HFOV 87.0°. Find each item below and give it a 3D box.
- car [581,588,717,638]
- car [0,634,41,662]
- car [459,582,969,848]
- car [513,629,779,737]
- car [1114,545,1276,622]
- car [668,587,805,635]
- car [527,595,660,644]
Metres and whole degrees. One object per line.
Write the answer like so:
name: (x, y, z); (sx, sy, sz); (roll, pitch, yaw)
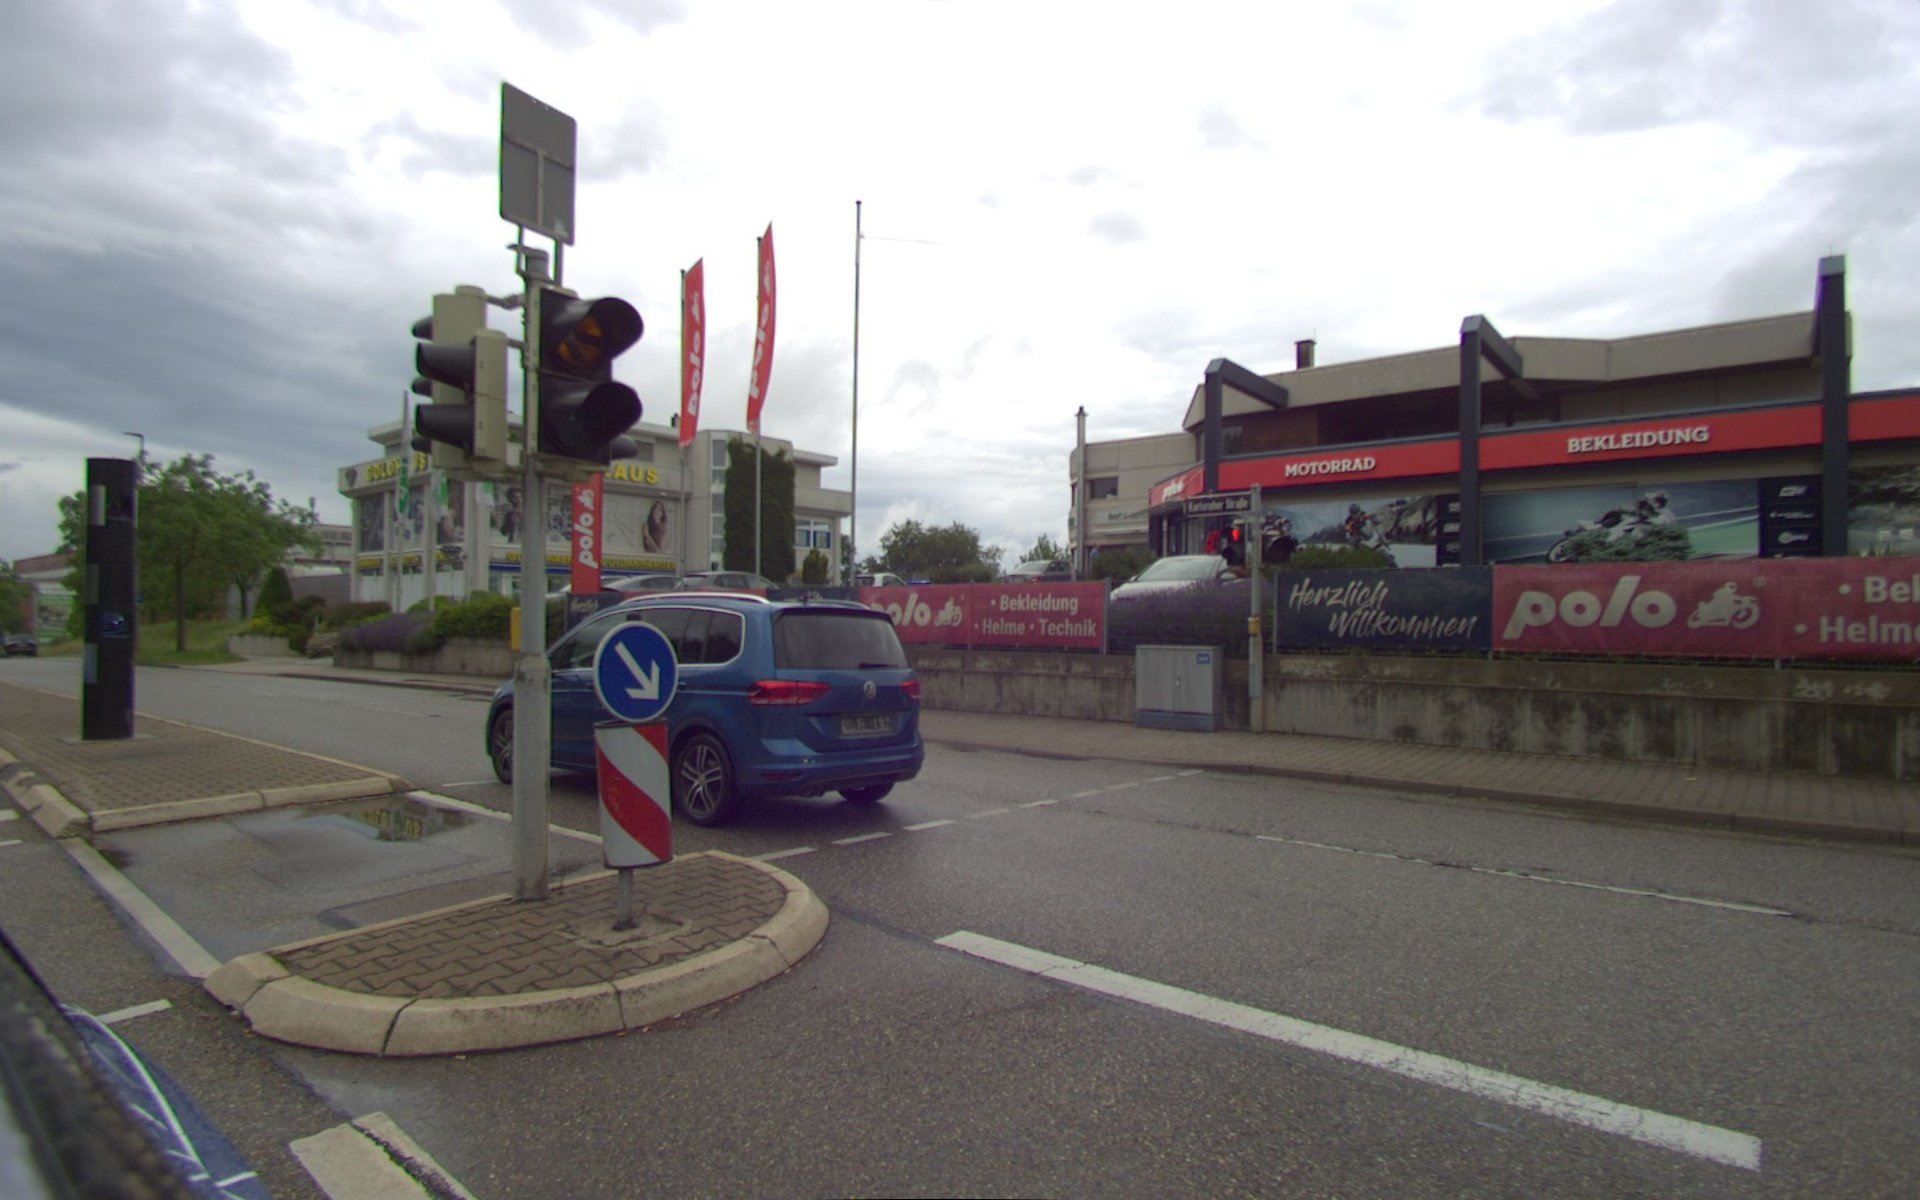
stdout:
car: (-8.517, 0.397, 27.923); (1.452, 1.287, 3.353); (-2, -3, 38)
car: (-67.774, 3.454, 72.551); (4.541, 1.905, 2.320); (-4, -4, 41)
car: (-2.175, 0.787, 8.379); (4.291, 1.662, 1.822); (-1, -3, 38)
car: (-4.777, 1.154, 15.152); (4.123, 1.390, 1.897); (-1, -3, 41)
car: (4.146, -0.218, 17.578); (1.452, 1.176, 3.353); (-2, -3, 38)
car: (-5.782, 0.324, 26.474); (1.452, 1.176, 3.353); (-2, -3, 38)
car: (-10.622, 0.590, 29.466); (1.454, 1.347, 3.350); (-2, -3, 41)
